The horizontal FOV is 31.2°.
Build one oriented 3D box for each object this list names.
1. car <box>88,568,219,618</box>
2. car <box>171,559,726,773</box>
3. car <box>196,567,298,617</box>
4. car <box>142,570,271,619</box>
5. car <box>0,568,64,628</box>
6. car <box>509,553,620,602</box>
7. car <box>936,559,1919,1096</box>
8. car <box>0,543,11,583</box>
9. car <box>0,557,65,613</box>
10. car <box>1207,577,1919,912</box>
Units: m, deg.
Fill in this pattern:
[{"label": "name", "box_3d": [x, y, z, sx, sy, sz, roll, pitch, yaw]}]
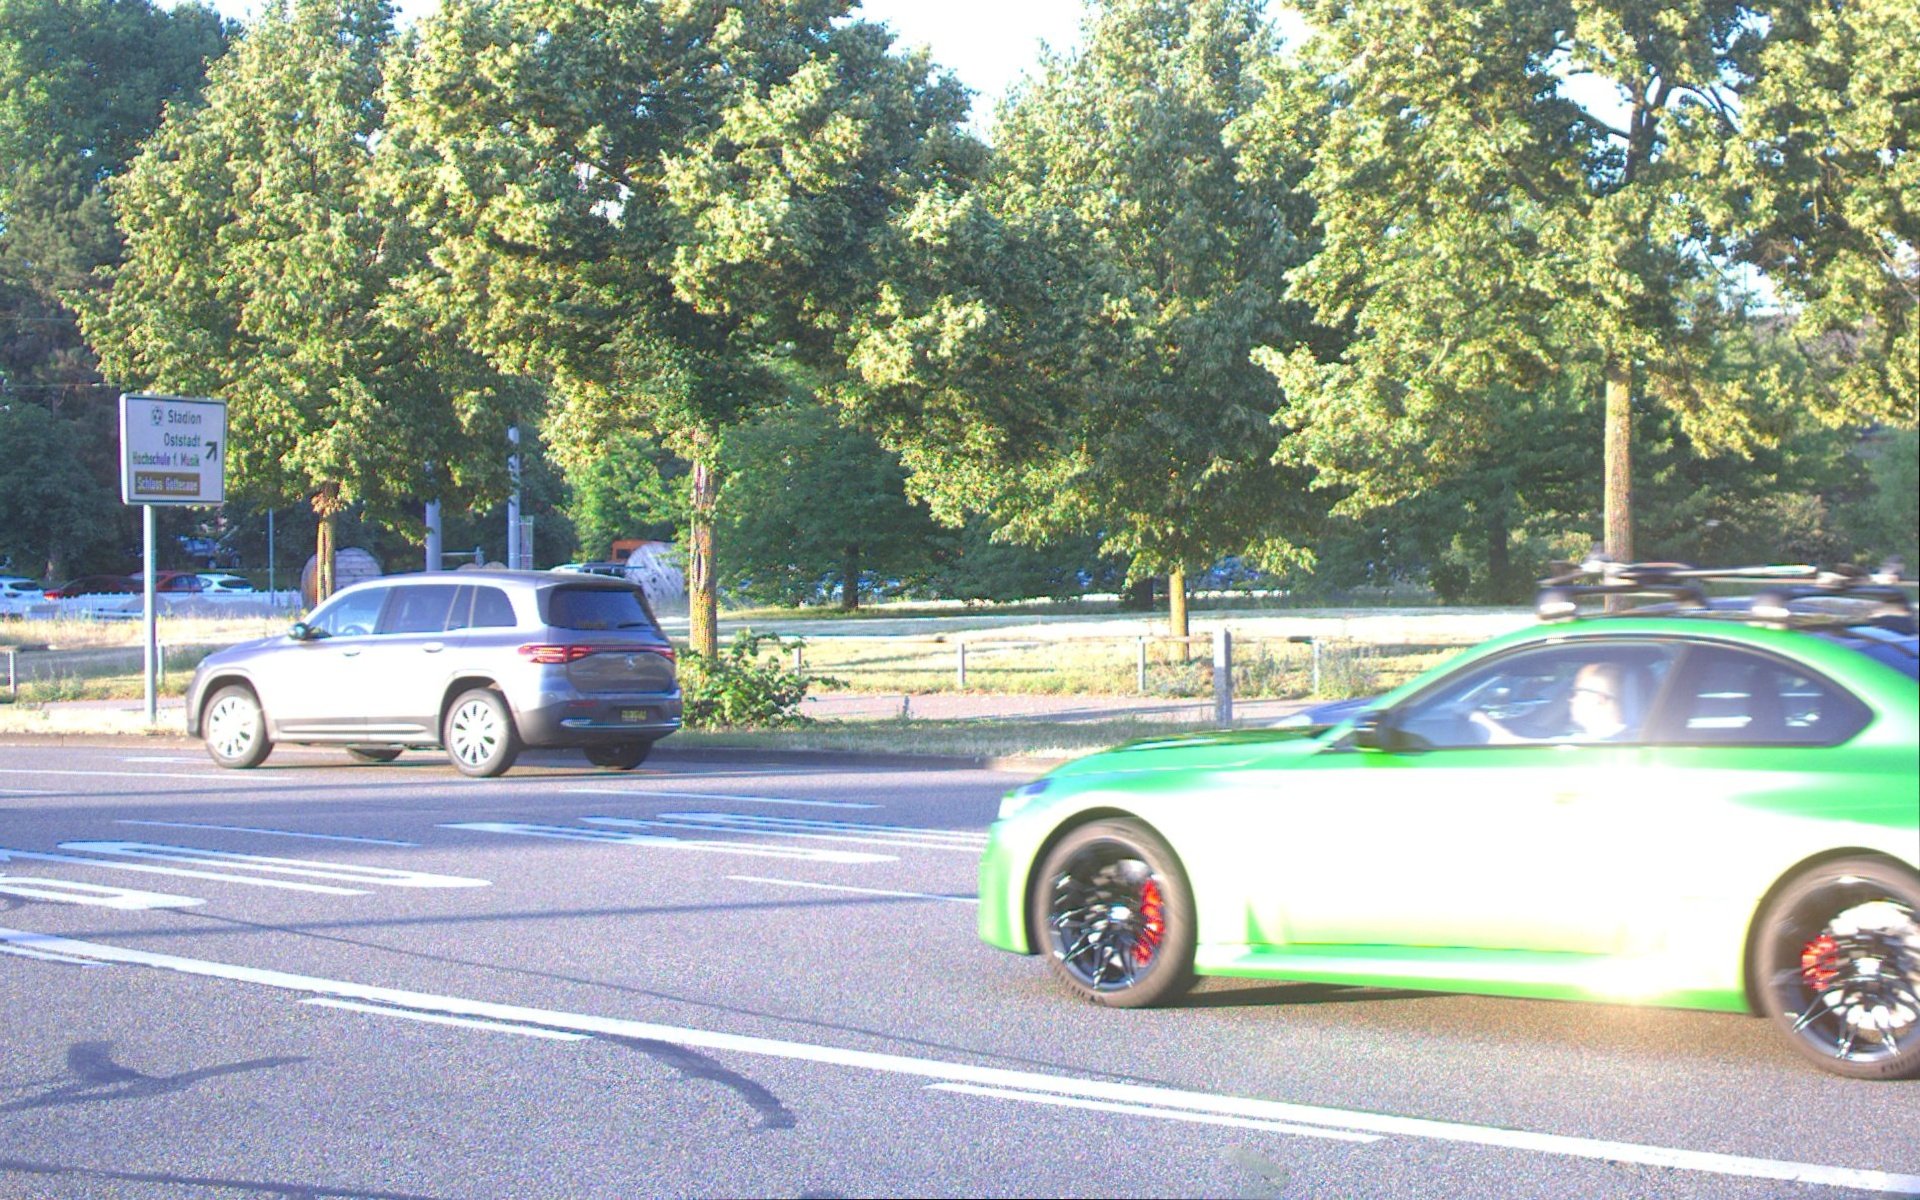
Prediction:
[{"label": "car", "box_3d": [-26.782, -0.247, 114.093, 3.994, 1.598, 1.996, 0, 1, 33]}, {"label": "car", "box_3d": [-4.311, 0.488, 28.661, 4.521, 1.632, 1.996, 0, 1, 38]}, {"label": "car", "box_3d": [-26.828, -0.305, 129.302, 1.994, 1.746, 4.597, -1, 2, -37]}, {"label": "car", "box_3d": [-25.379, -0.191, 115.823, 3.994, 1.598, 1.996, 0, 1, 33]}, {"label": "car", "box_3d": [-33.155, -0.079, 117.672, 4.582, 2.007, 2.001, -1, 1, -9]}, {"label": "car", "box_3d": [-13.237, -0.762, 114.882, 1.734, 1.612, 3.998, -1, 1, -41]}, {"label": "car", "box_3d": [2.305, 0.657, 11.835, 4.480, 1.573, 1.996, 0, 1, 37]}, {"label": "car", "box_3d": [-42.422, -1.559, 145.362, 3.988, 1.700, 2.000, 0, 1, 7]}, {"label": "car", "box_3d": [-35.241, -0.535, 125.805, 4.582, 2.007, 2.001, -1, 1, -9]}, {"label": "car", "box_3d": [3.682, 0.628, 16.785, 4.665, 1.459, 1.883, 0, 1, 37]}]
